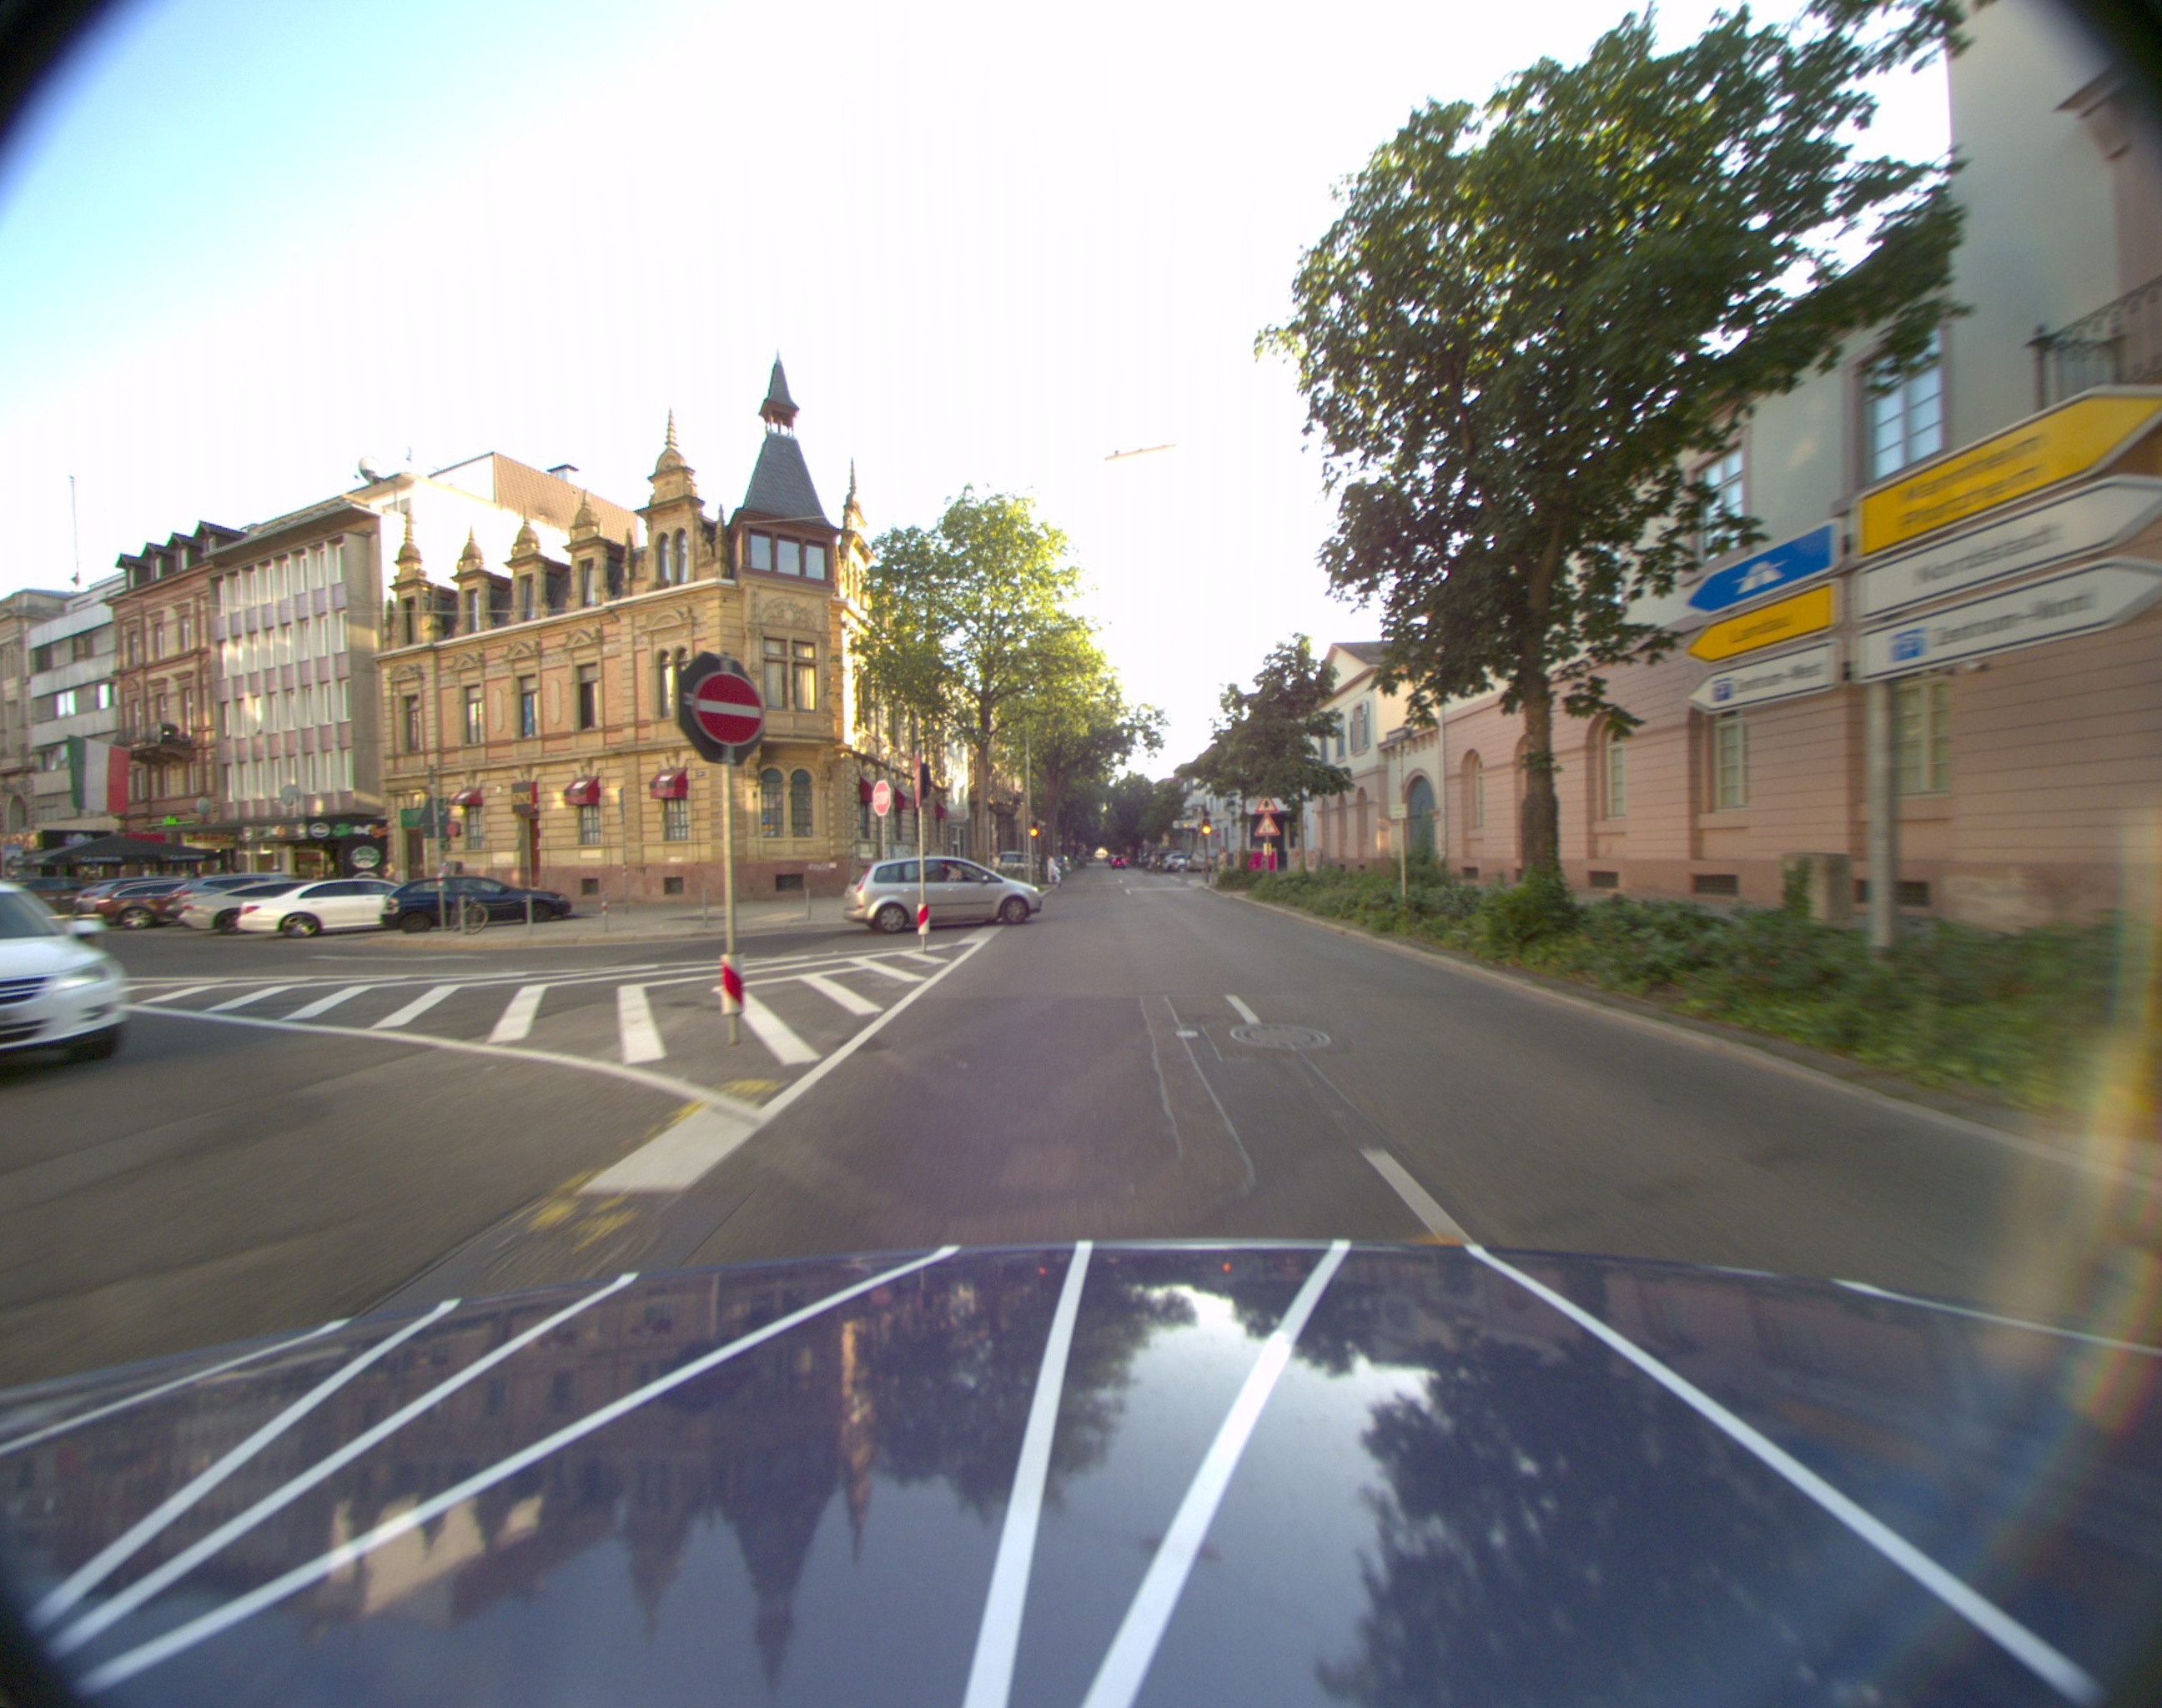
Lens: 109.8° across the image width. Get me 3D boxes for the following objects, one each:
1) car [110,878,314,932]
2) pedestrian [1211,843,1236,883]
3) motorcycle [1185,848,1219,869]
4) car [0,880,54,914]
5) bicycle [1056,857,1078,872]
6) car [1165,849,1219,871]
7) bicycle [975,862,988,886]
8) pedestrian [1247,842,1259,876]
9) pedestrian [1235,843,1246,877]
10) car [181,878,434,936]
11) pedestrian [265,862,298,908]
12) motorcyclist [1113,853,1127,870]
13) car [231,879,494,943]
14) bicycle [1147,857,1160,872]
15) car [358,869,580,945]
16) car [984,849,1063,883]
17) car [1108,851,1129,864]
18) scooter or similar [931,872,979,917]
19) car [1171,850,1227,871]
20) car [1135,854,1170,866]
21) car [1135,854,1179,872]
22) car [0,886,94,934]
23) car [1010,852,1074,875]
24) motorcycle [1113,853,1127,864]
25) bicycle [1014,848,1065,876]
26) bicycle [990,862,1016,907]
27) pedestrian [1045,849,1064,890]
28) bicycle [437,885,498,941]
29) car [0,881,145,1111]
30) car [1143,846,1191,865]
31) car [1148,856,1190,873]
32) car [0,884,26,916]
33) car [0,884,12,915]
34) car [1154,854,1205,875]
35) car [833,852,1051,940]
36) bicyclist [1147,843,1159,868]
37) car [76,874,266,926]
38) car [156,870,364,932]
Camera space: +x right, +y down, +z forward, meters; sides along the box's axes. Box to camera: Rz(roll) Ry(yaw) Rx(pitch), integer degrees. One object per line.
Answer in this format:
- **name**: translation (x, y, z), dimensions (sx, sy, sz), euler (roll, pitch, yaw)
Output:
- **car**: translation (-28.325, 1.602, 25.001), dimensions (4.147, 1.531, 1.775), euler (0, 0, -38)
- **pedestrian**: translation (6.478, 0.416, 34.581), dimensions (0.791, 1.780, 0.772), euler (-4, -1, 29)
- **motorcycle**: translation (8.321, 0.336, 52.248), dimensions (2.150, 1.411, 0.969), euler (0, 1, 23)
- **car**: translation (-51.800, 2.049, 35.546), dimensions (1.775, 1.551, 4.146), euler (-1, 0, 24)
- **bicycle**: translation (-1.382, 0.988, 73.675), dimensions (2.051, 1.352, 0.508), euler (-2, 0, -1)
- **car**: translation (8.427, 0.440, 57.890), dimensions (3.751, 1.450, 1.735), euler (-3, 0, 0)
- **bicycle**: translation (-5.253, 1.028, 40.198), dimensions (0.386, 1.228, 1.726), euler (-1, 0, 3)
- **pedestrian**: translation (9.338, 0.279, 41.169), dimensions (0.555, 1.840, 0.612), euler (-1, 1, 15)
- **pedestrian**: translation (8.689, 0.315, 41.361), dimensions (0.555, 1.839, 0.612), euler (-1, 1, 16)
- **car**: translation (-22.356, 1.476, 22.319), dimensions (4.985, 1.449, 1.871), euler (0, -2, -38)
- **pedestrian**: translation (-31.185, 1.199, 29.647), dimensions (0.734, 1.752, 0.635), euler (-1, 0, 23)
- **motorcyclist**: translation (3.900, 0.748, 75.906), dimensions (1.283, 1.582, 1.077), euler (-1, 0, 2)
- **car**: translation (-19.285, 1.468, 20.813), dimensions (5.000, 1.449, 1.983), euler (0, 0, -36)
- **bicycle**: translation (4.792, 0.708, 50.384), dimensions (0.778, 0.967, 2.025), euler (-1, 0, 4)
- **car**: translation (-15.891, 1.280, 19.936), dimensions (4.286, 1.405, 1.708), euler (-6, 4, -41)
- **car**: translation (-3.331, 0.701, 44.864), dimensions (4.552, 1.903, 1.950), euler (0, 0, -1)
- **car**: translation (4.447, 0.407, 90.515), dimensions (1.882, 1.540, 4.273), euler (0, 0, -5)
- **scooter or similar**: translation (-3.635, 1.158, 21.964), dimensions (1.277, 1.236, 0.505), euler (-1, 0, -42)
- **car**: translation (8.520, 0.489, 55.156), dimensions (3.749, 1.303, 1.844), euler (-3, 0, 1)
- **car**: translation (9.679, 0.761, 103.079), dimensions (4.436, 1.399, 1.717), euler (-3, 1, -2)
- **car**: translation (9.073, 1.088, 91.118), dimensions (5.003, 1.979, 2.190), euler (-1, 0, 0)
- **car**: translation (-43.652, 2.314, 31.082), dimensions (1.994, 1.780, 3.866), euler (-2, 1, 36)
- **car**: translation (-2.658, 0.645, 52.465), dimensions (4.233, 1.551, 1.971), euler (0, 0, 4)
- **motorcycle**: translation (3.881, 0.472, 75.959), dimensions (1.315, 1.084, 2.396), euler (1, 0, 1)
- **bicycle**: translation (-2.581, 0.500, 47.361), dimensions (3.122, 1.653, 0.658), euler (-2, 0, -3)
- **bicycle**: translation (-2.419, 0.937, 23.662), dimensions (0.417, 1.364, 1.289), euler (0, 0, 13)
- **pedestrian**: translation (-1.242, 0.715, 35.411), dimensions (0.771, 1.877, 0.792), euler (-1, 0, -10)
- **bicycle**: translation (-14.277, 1.335, 17.667), dimensions (1.828, 1.128, 0.829), euler (0, 2, 44)
- **car**: translation (-9.951, 1.112, 6.277), dimensions (4.193, 1.647, 1.898), euler (-1, 2, 27)
- **car**: translation (8.770, 0.114, 77.908), dimensions (4.677, 1.755, 2.157), euler (-2, 0, 1)
- **car**: translation (8.750, 1.014, 75.506), dimensions (4.037, 1.485, 1.781), euler (-3, 0, 5)
- **car**: translation (-54.341, 2.287, 36.394), dimensions (1.775, 1.551, 4.146), euler (-1, 0, 24)
- **car**: translation (-56.087, 2.292, 37.133), dimensions (1.775, 1.551, 4.146), euler (-1, 0, 24)
- **car**: translation (8.295, 0.889, 64.342), dimensions (4.102, 1.622, 1.936), euler (-2, 0, 2)
- **car**: translation (-3.037, 0.831, 16.688), dimensions (4.358, 1.644, 1.882), euler (-1, 0, -25)
- **bicyclist**: translation (4.773, 0.117, 50.410), dimensions (0.753, 1.612, 1.147), euler (-2, 0, 4)
- **car**: translation (-31.608, 1.531, 26.496), dimensions (1.775, 1.551, 4.147), euler (-1, 0, 37)
- **car**: translation (-25.316, 1.374, 23.679), dimensions (4.147, 1.715, 1.775), euler (0, 0, -38)
